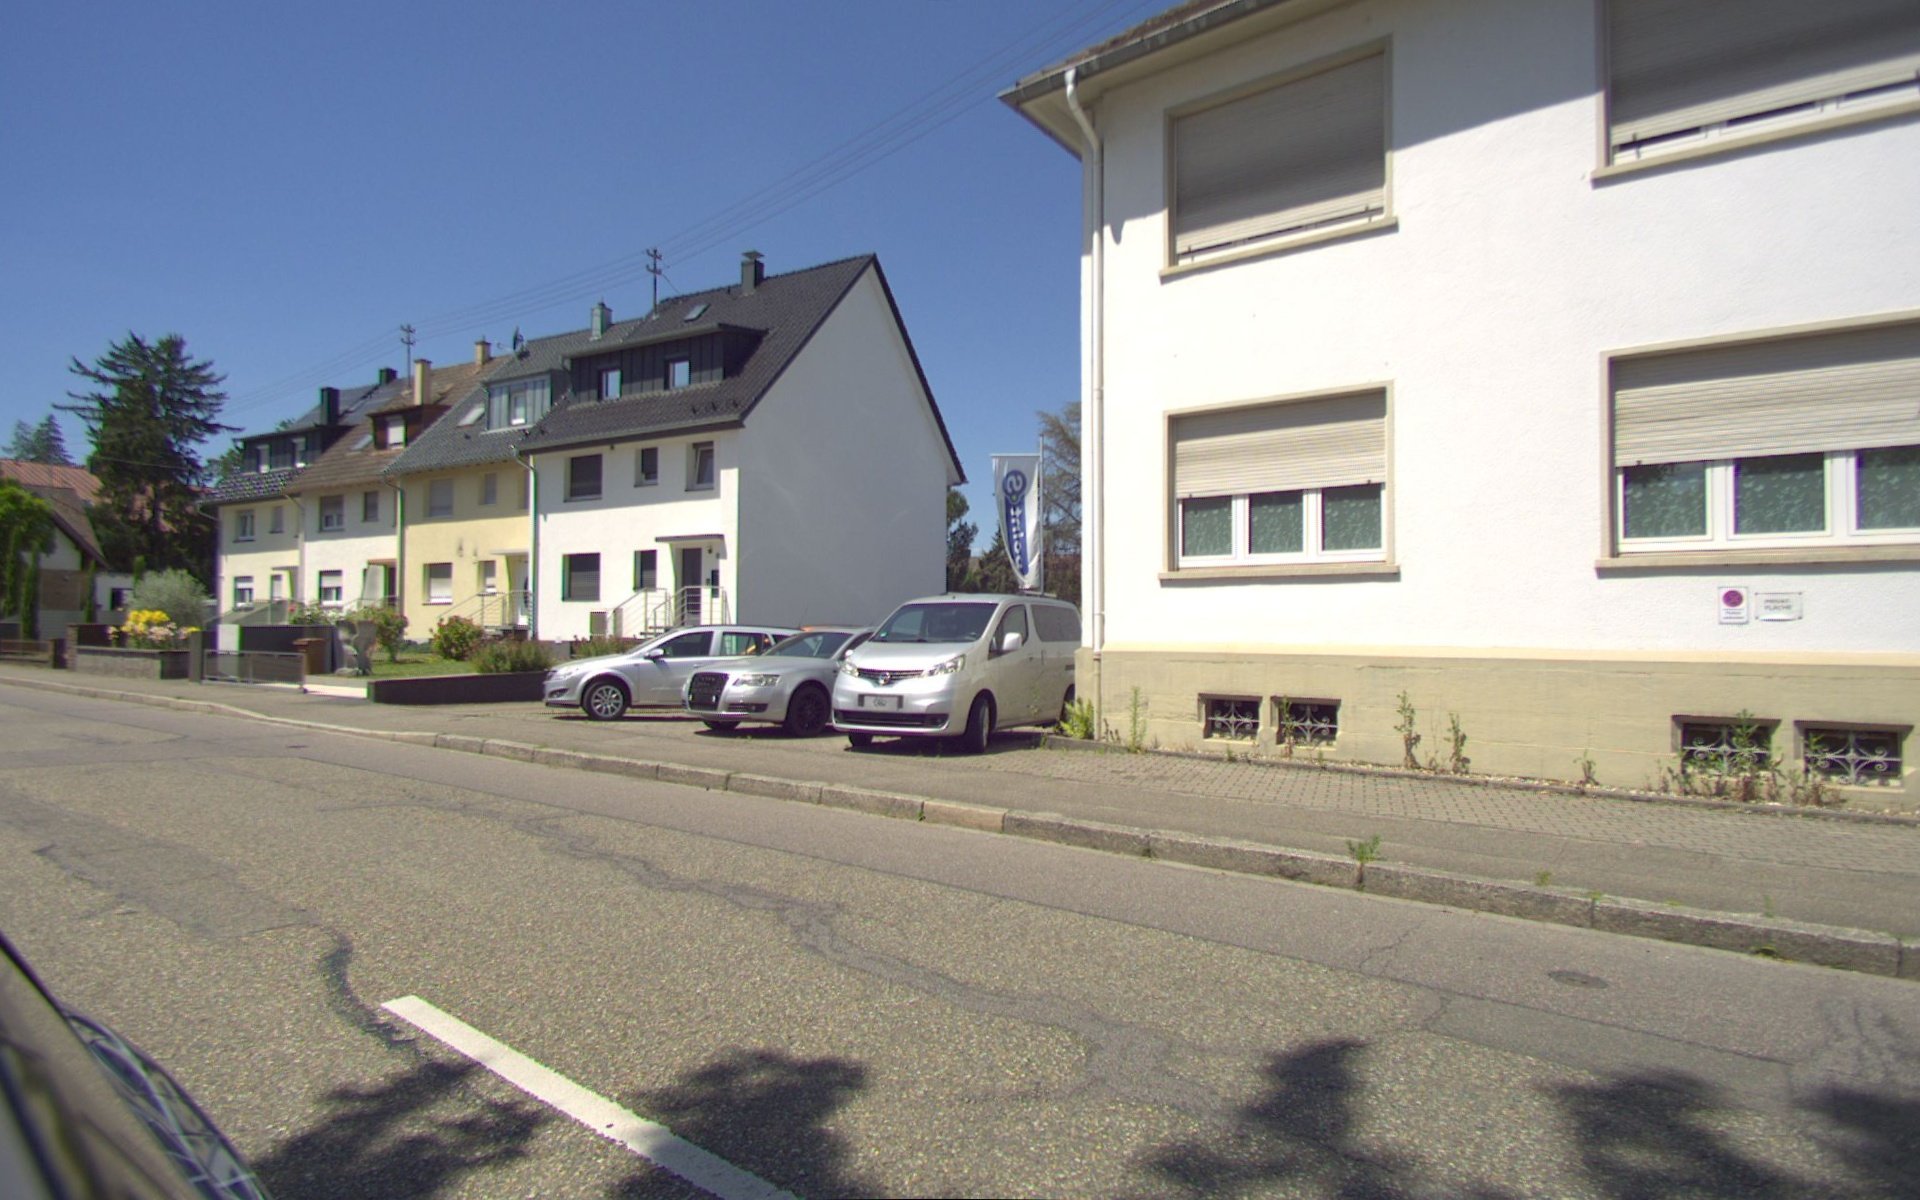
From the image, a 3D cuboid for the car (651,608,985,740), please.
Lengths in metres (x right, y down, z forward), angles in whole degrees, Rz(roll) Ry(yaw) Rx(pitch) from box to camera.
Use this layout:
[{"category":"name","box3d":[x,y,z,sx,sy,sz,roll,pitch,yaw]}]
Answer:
[{"category":"car","box3d":[-1.768,0.998,13.961,1.973,1.507,4.428,-2,-4,38]}]

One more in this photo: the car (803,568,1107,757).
[{"category":"car","box3d":[0.164,0.768,12.468,1.843,1.891,4.321,-1,-4,29]}]

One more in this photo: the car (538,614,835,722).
[{"category":"car","box3d":[-4.254,1.073,15.774,4.201,1.507,1.882,2,-4,-22]}]

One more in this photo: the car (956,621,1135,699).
[{"category":"car","box3d":[2.067,1.455,24.346,4.135,1.769,1.821,0,-5,8]}]

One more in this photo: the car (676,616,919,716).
[{"category":"car","box3d":[-2.907,1.213,18.547,4.142,1.657,1.855,1,-4,-6]}]

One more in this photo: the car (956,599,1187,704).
[{"category":"car","box3d":[2.084,0.985,17.679,1.973,1.507,4.428,-2,-7,38]}]
